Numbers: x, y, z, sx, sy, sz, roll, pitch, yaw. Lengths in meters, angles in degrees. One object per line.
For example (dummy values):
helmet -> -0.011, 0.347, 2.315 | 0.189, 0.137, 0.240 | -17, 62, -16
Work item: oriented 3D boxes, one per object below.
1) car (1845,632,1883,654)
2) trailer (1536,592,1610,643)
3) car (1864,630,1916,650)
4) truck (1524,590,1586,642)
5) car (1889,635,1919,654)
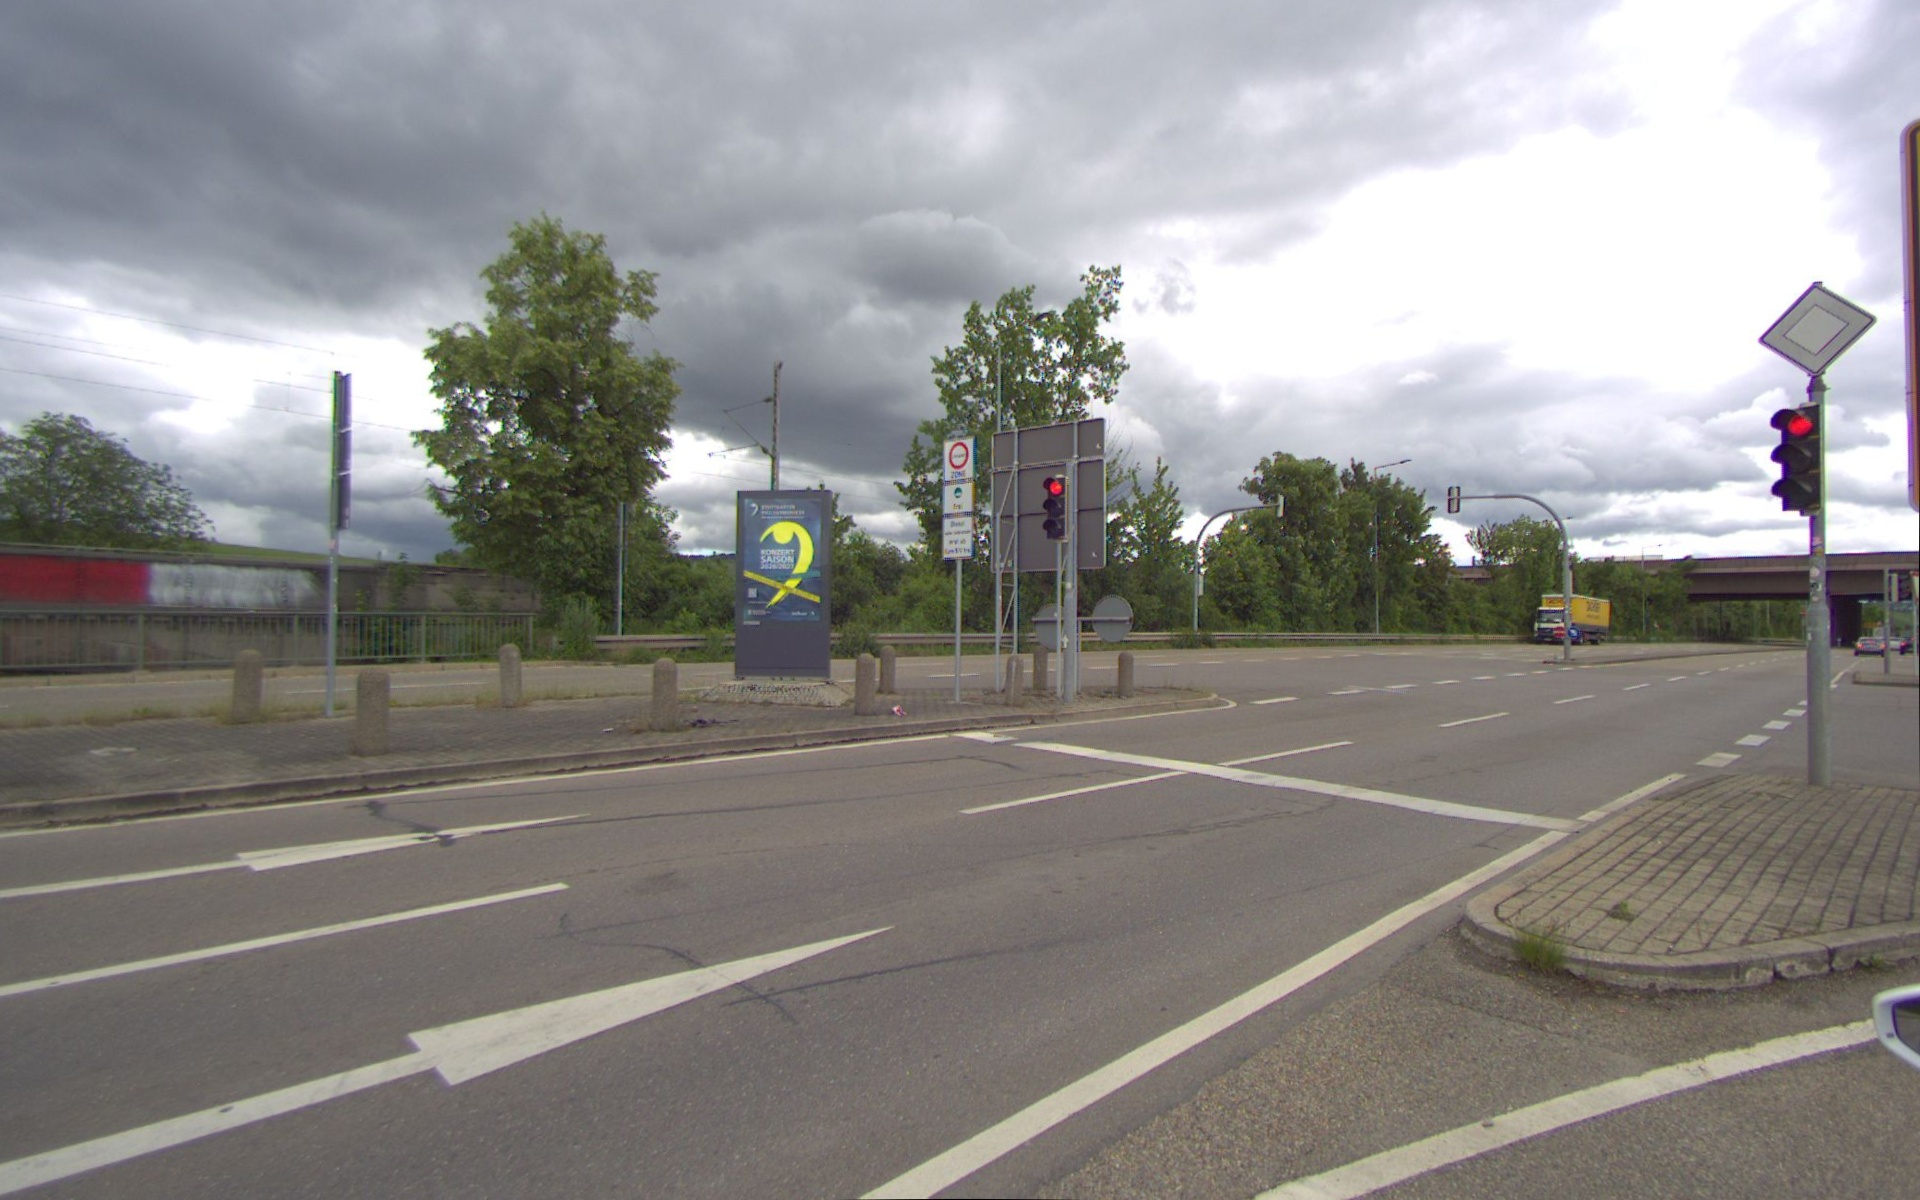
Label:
car -> 67.549, 3.197, 75.026 | 1.972, 1.461, 4.087 | 1, -2, 43
trailer -> 54.066, 1.508, 88.435 | 11.351, 4.139, 2.843 | 1, 1, -45
car -> 103.376, 4.445, 111.679 | 3.935, 1.885, 1.993 | 4, 2, 36
truck -> 50.087, 1.310, 84.445 | 6.444, 4.139, 2.843 | 1, 1, -45
car -> 81.874, 3.868, 86.970 | 1.973, 1.483, 4.086 | 1, -2, 44
